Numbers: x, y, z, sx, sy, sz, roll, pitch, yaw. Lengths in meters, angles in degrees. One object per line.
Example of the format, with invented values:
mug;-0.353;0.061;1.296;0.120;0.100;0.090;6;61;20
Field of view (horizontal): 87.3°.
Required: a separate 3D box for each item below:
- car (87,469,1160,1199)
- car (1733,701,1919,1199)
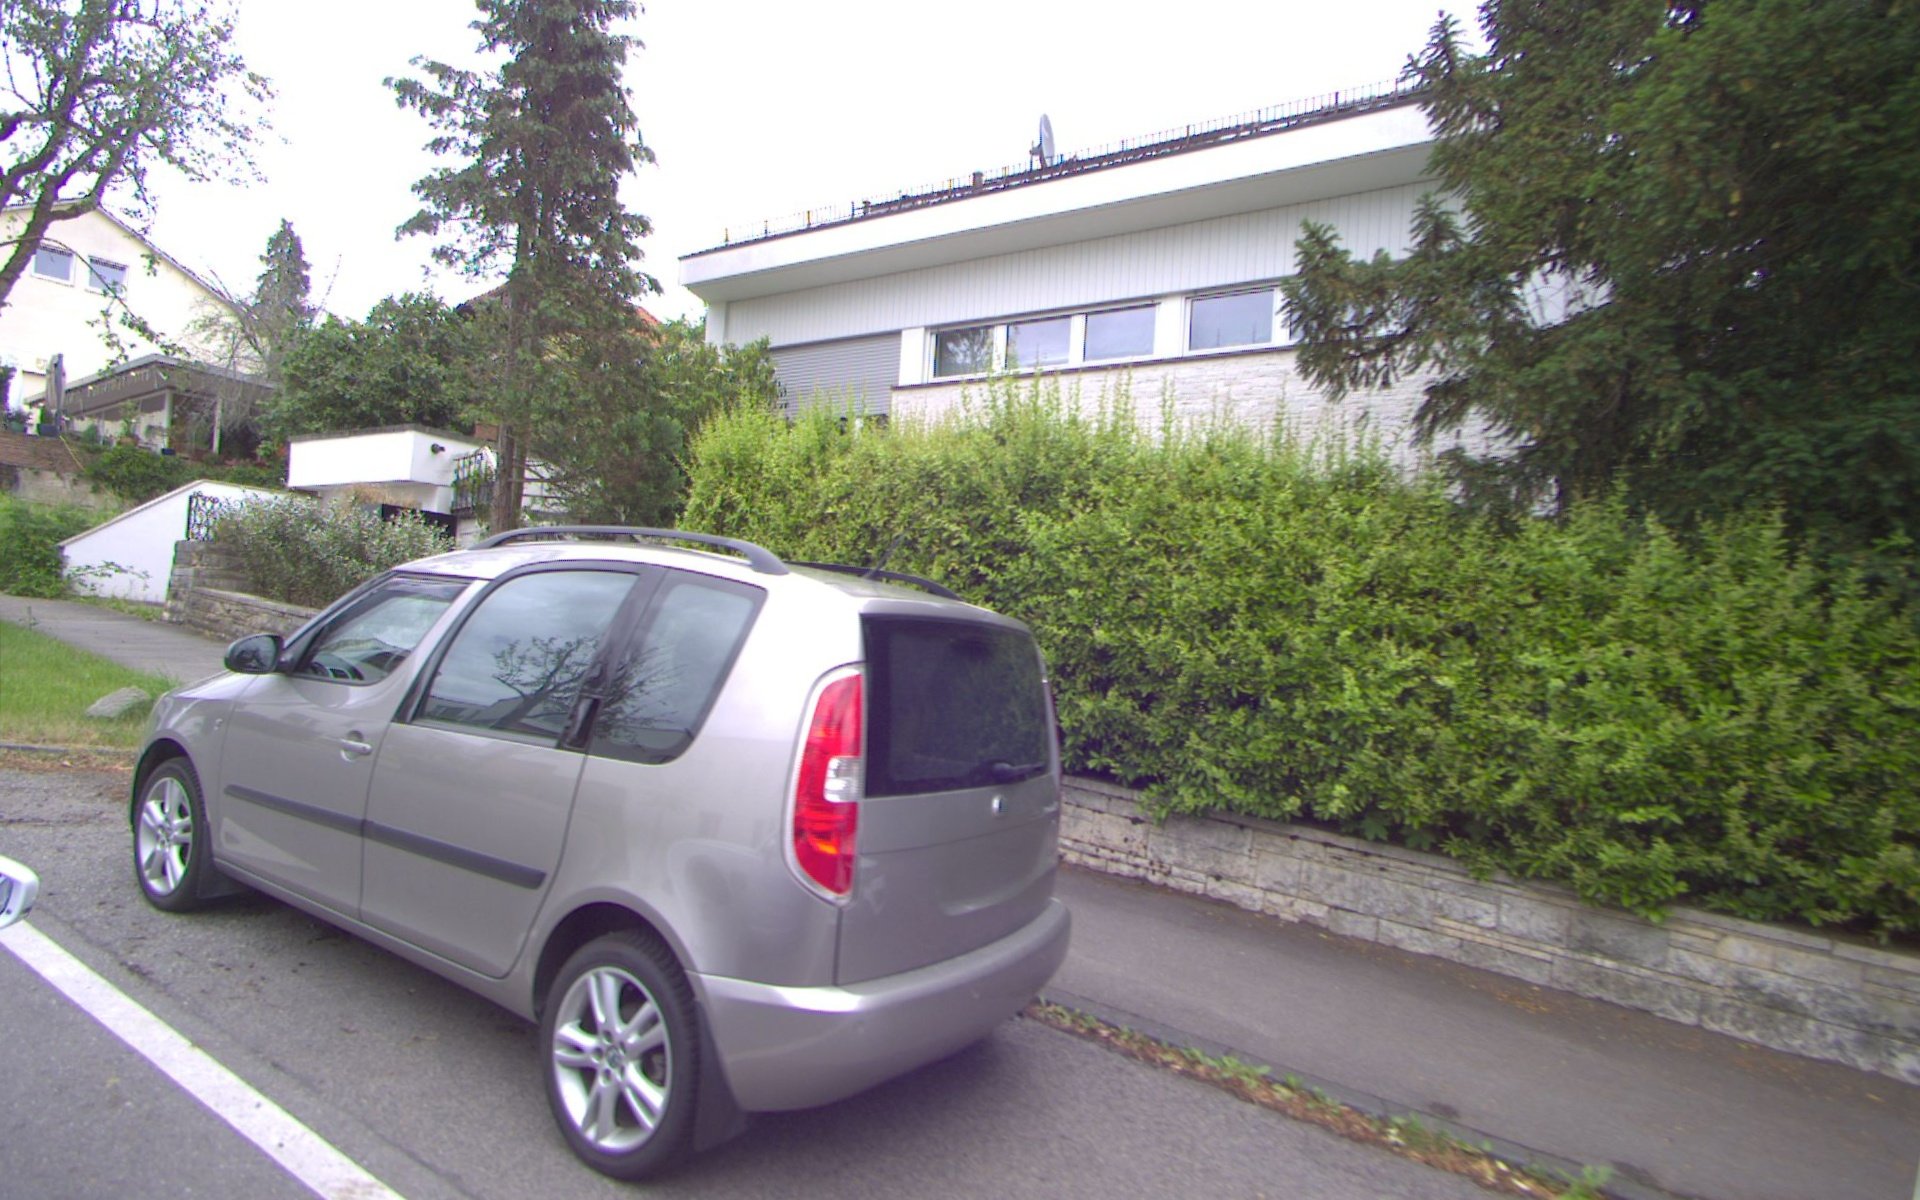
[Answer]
car;-1.459;0.544;3.866;3.864;1.651;1.720;7;-2;33
car;3.802;1.226;0.657;4.922;1.510;1.995;7;1;32
